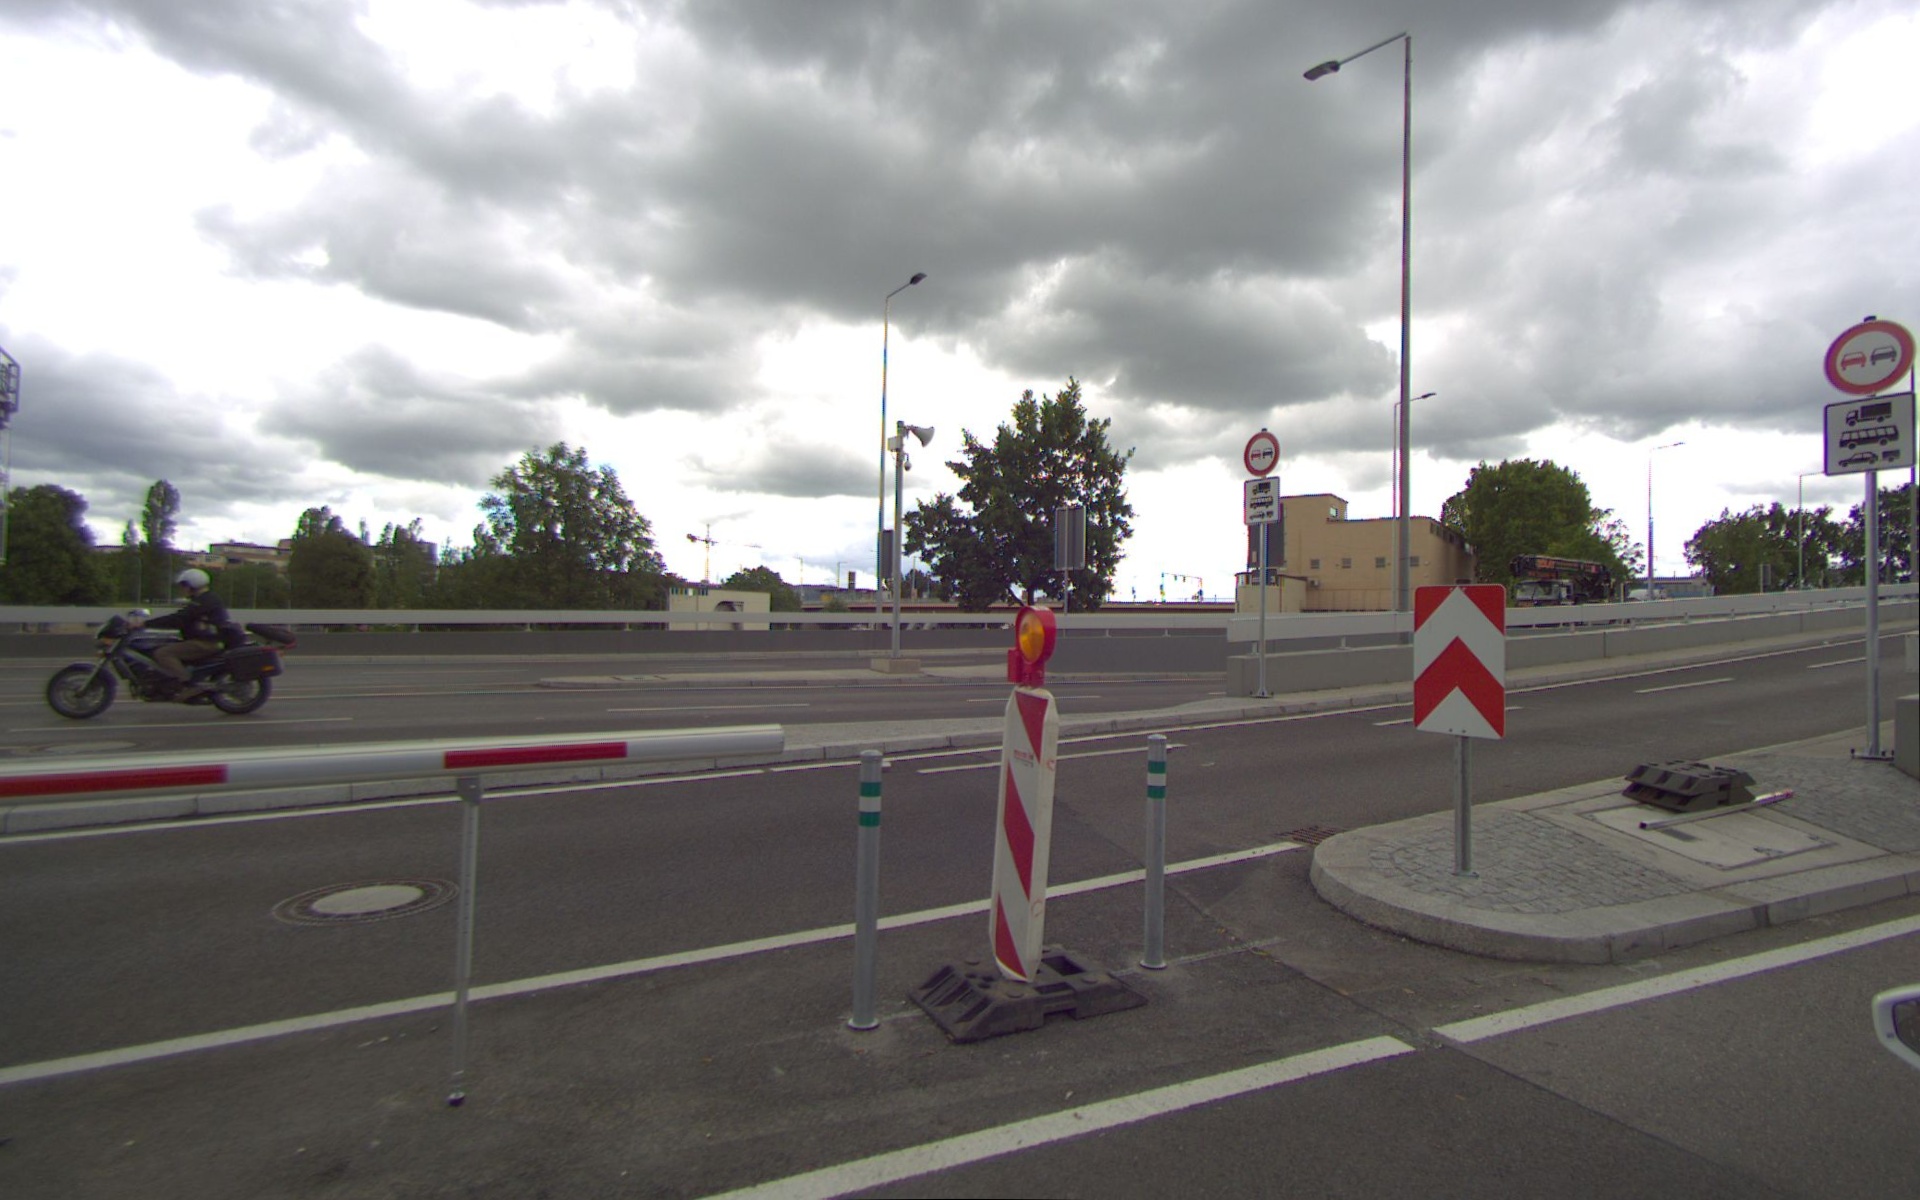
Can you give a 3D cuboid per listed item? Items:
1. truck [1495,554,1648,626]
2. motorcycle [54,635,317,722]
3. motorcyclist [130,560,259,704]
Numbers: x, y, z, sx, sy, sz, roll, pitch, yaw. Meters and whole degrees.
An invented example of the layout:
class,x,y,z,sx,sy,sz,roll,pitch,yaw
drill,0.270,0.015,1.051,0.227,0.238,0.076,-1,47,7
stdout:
class,x,y,z,sx,sy,sz,roll,pitch,yaw
truck,31.620,-0.591,51.692,10.511,3.436,2.714,-1,2,-35
motorcycle,-9.047,0.900,11.877,2.365,0.929,0.662,2,0,-30
motorcyclist,-9.024,0.373,11.882,1.090,1.627,0.662,1,0,-29
